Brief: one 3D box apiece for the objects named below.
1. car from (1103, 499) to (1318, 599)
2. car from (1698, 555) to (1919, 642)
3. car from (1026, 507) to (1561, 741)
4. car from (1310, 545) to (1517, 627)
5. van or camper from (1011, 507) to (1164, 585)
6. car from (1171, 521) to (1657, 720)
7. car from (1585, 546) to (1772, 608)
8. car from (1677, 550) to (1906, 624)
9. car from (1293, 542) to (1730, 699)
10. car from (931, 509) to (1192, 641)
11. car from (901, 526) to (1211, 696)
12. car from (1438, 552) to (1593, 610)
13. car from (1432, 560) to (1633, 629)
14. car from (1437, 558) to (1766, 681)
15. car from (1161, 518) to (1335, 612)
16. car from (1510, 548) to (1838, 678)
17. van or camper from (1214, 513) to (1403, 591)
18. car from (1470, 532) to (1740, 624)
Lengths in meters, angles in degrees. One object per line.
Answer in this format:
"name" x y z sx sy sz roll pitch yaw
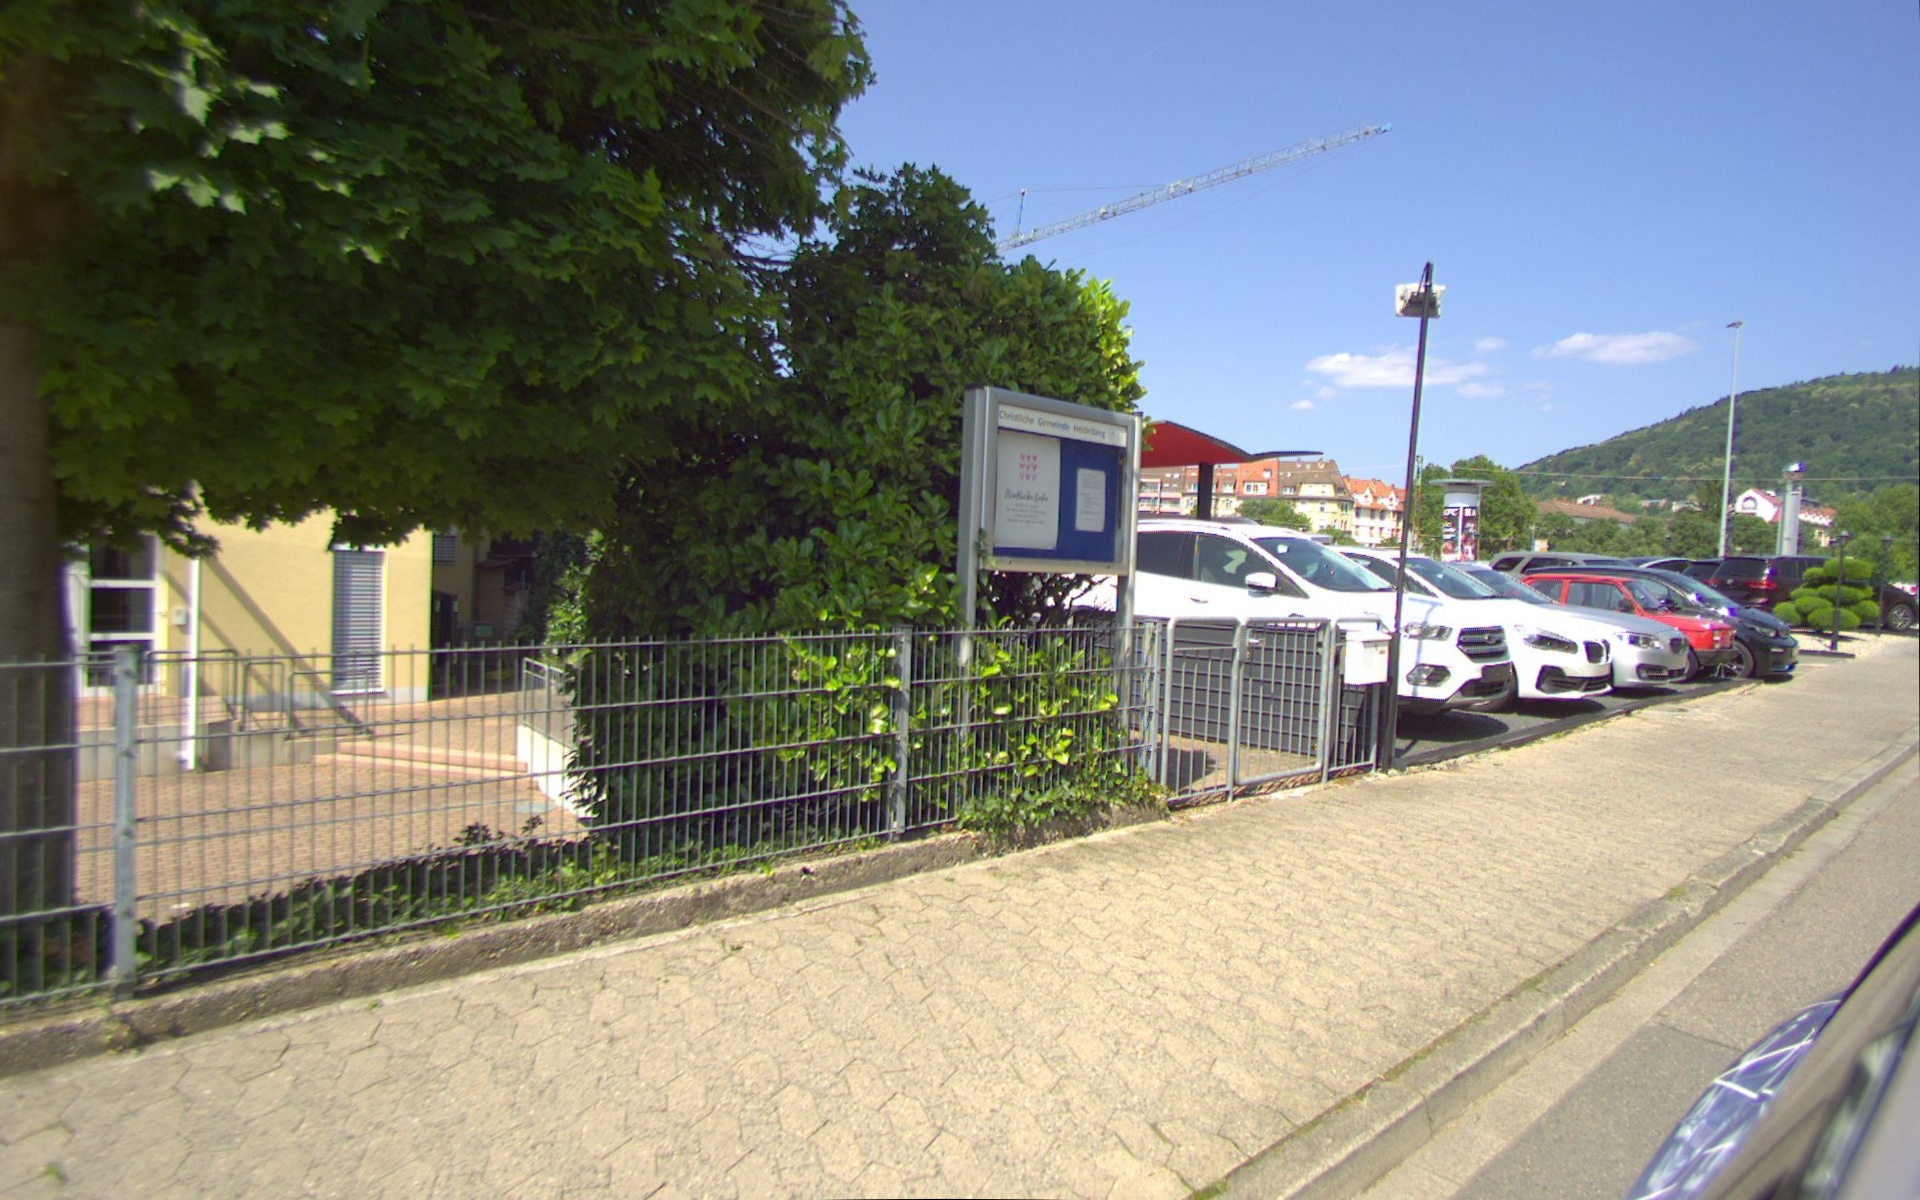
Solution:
"car" 7.644 -1.626 31.055 5.964 2.710 2.238 4 4 28
"car" 20.067 -0.050 23.676 4.205 1.803 1.856 2 4 -4
"car" 2.853 0.021 9.499 1.812 1.673 4.411 0 4 -42
"car" 10.834 -0.414 24.609 1.884 1.655 4.590 1 4 -19
"van or camper" 4.442 -1.904 35.231 4.875 2.465 1.988 3 3 20
"car" 4.712 0.038 11.075 1.865 1.545 4.413 -1 6 -42
"car" 22.143 -0.716 31.241 4.716 1.712 2.022 1 3 -13
"car" 22.878 -0.388 27.962 4.721 1.800 2.020 2 3 -5
"car" 6.697 0.111 12.730 1.864 1.515 4.413 0 4 -40
"car" 1.939 -0.486 18.141 4.828 2.037 1.996 -1 5 -45
"car" 1.314 0.040 13.152 3.723 1.882 1.998 -1 3 -41
"car" 18.218 -0.654 33.335 3.927 1.726 1.861 2 3 3
"car" 15.046 -0.191 26.823 4.139 1.552 1.921 2 3 10
"car" 8.846 0.170 14.173 1.532 1.351 3.557 0 4 -41
"car" 7.507 -1.010 26.908 1.885 2.176 4.590 2 4 -22
"car" 11.002 0.090 15.798 1.729 1.643 3.811 0 4 -41
"van or camper" 11.136 -1.575 32.459 5.456 2.289 2.092 3 3 28
"car" 14.182 -0.590 22.695 1.884 1.783 5.011 1 3 -16
